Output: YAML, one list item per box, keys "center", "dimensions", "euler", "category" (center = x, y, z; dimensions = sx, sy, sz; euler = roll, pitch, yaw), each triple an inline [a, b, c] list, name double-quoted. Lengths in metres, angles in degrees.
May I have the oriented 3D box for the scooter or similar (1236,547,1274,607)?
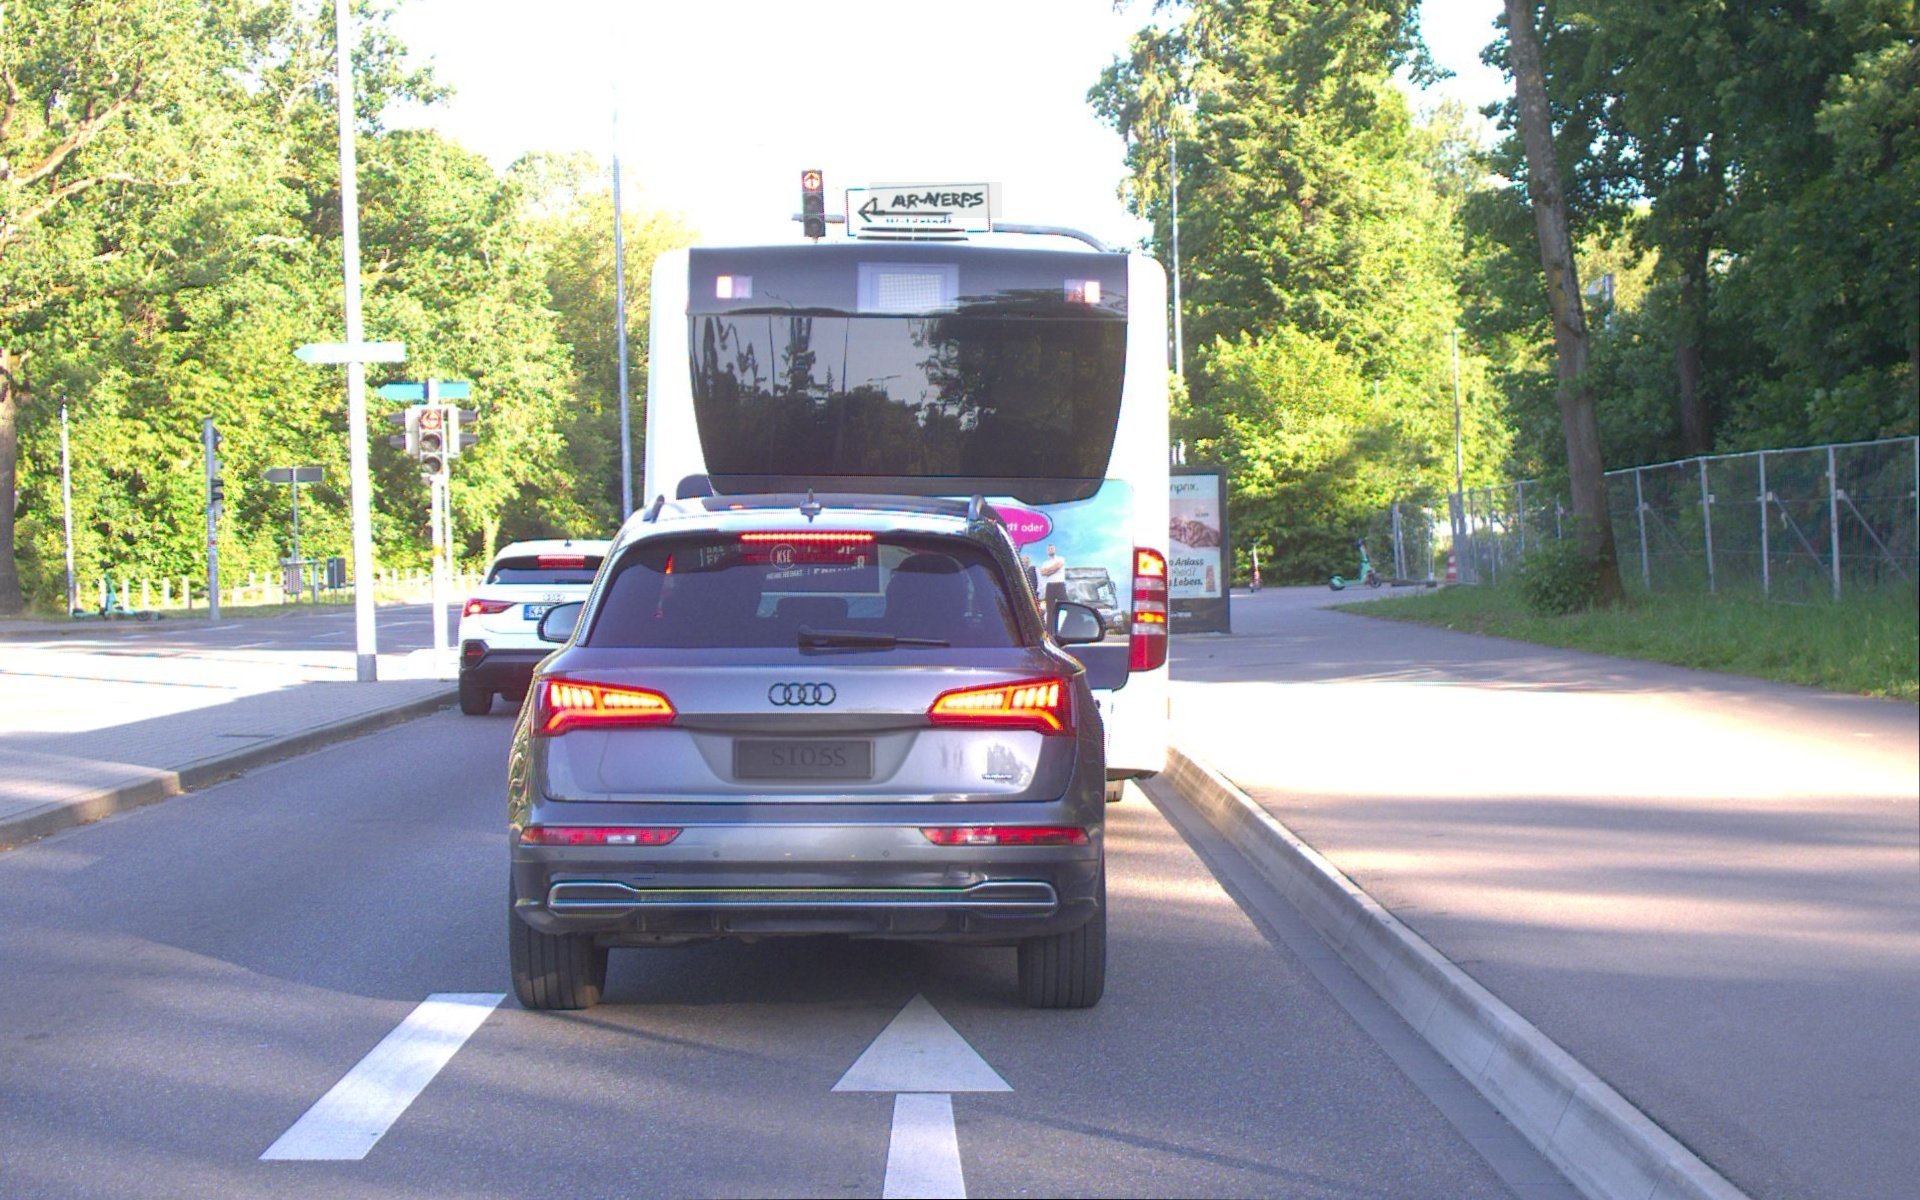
- center: [7.241, -0.574, 84.505]
  dimensions: [0.508, 1.439, 2.023]
  euler: [-2, 1, -6]
  category: "scooter or similar"

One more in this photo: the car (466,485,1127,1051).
- center: [-0.495, 0.450, 11.936]
  dimensions: [1.898, 1.626, 4.000]
  euler: [0, 1, -1]
  category: "car"

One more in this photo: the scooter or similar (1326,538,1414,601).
- center: [9.772, -0.725, 81.895]
  dimensions: [2.015, 1.439, 0.606]
  euler: [-2, 1, -25]
  category: "scooter or similar"

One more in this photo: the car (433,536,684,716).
- center: [-3.588, 0.184, 31.340]
  dimensions: [1.836, 1.513, 4.000]
  euler: [-1, 1, -1]
  category: "car"

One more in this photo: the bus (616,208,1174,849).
- center: [-0.355, -0.370, 20.682]
  dimensions: [2.594, 2.978, 9.327]
  euler: [0, 0, -1]
  category: "bus"

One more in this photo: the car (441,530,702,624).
- center: [-6.821, -0.425, 60.831]
  dimensions: [1.997, 1.493, 4.780]
  euler: [-1, 1, 32]
  category: "car"

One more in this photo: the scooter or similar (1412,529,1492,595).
- center: [11.887, -0.911, 83.119]
  dimensions: [0.539, 1.562, 2.022]
  euler: [-3, 1, -40]
  category: "scooter or similar"
